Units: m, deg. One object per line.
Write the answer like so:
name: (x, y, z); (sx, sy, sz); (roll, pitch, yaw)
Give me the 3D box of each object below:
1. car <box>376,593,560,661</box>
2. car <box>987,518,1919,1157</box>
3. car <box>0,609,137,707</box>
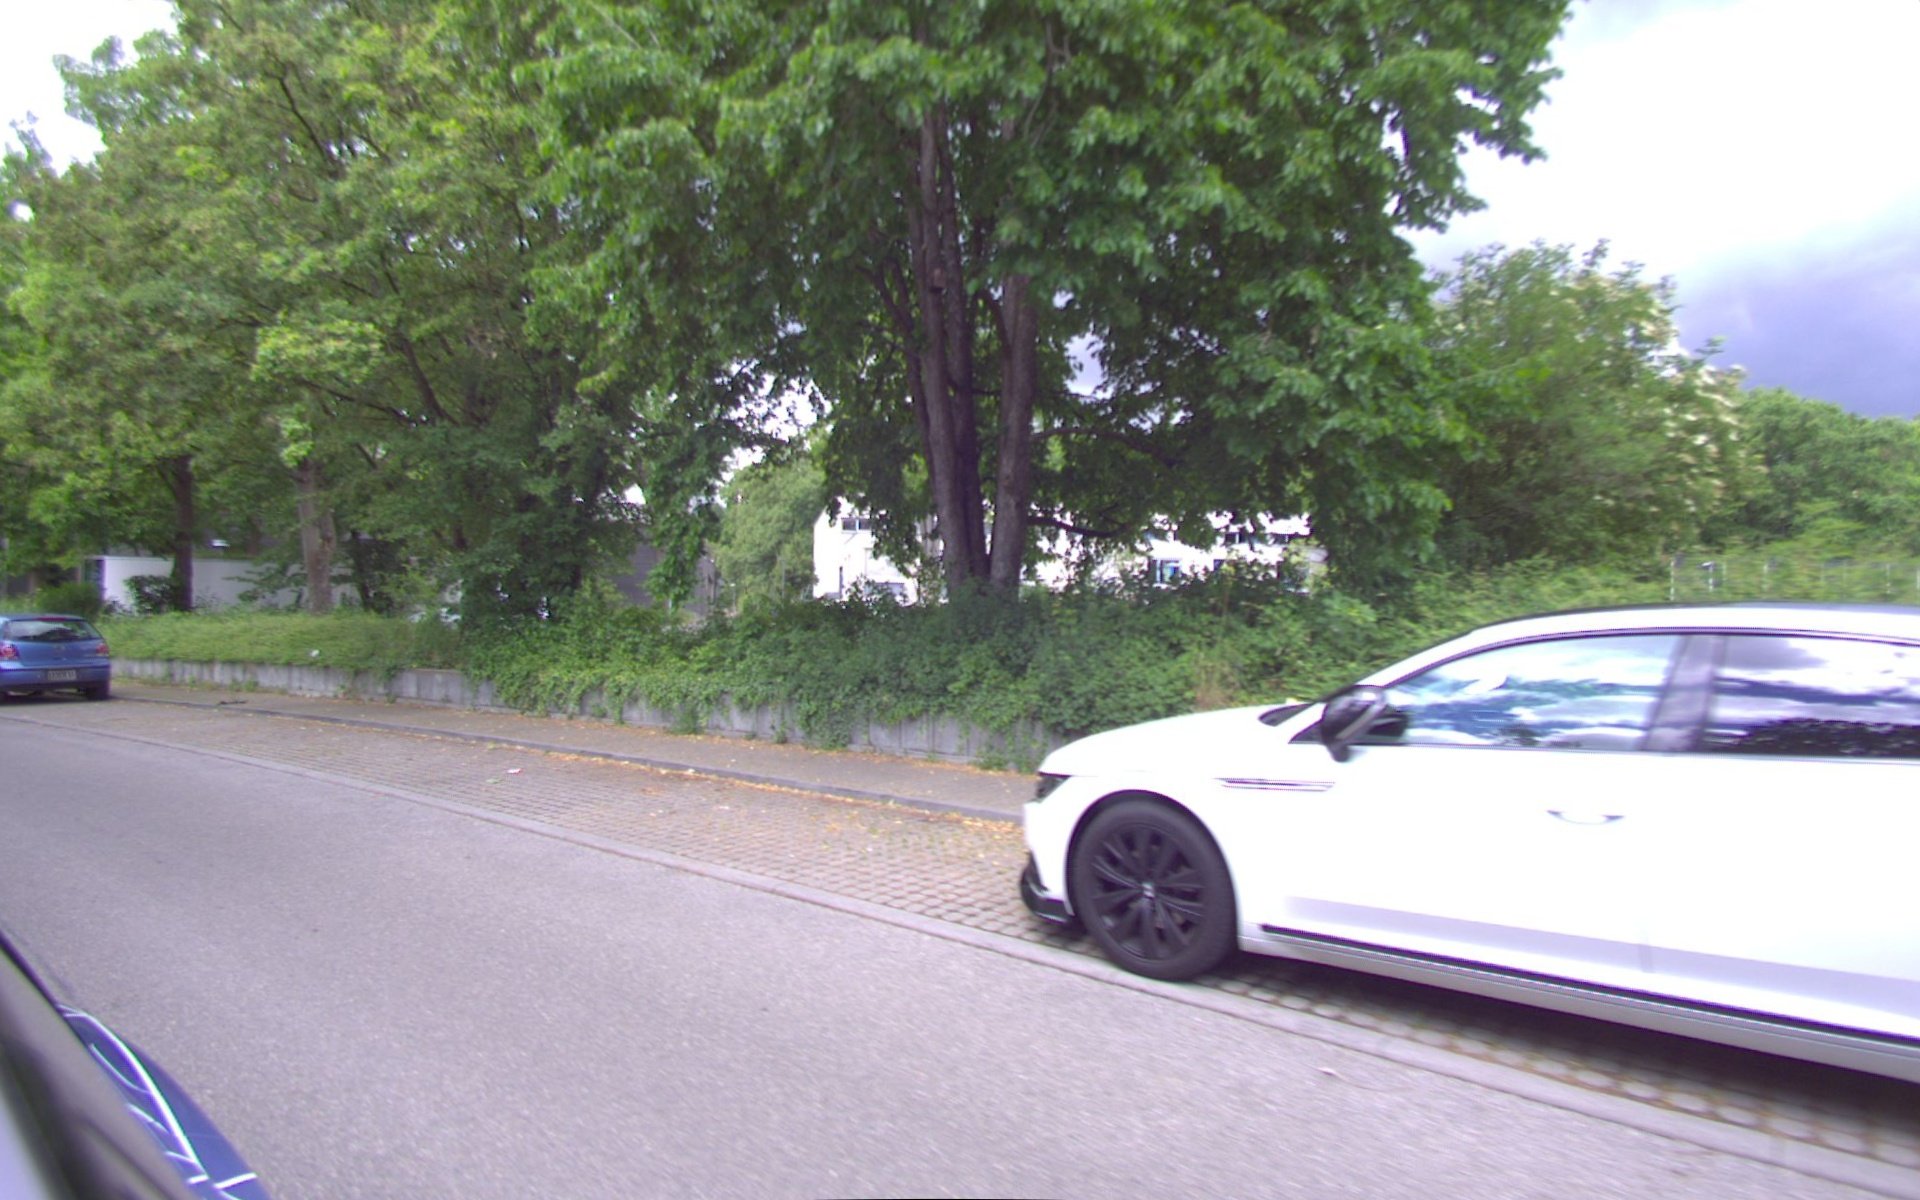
car: (-12.380, 0.648, 25.693); (3.752, 1.650, 2.003); (0, 0, -6)
car: (2.465, 0.577, 3.412); (4.632, 1.503, 1.829); (-1, -2, 40)
car: (-16.036, 0.923, 17.139); (3.980, 1.503, 1.837); (-1, -1, 27)
